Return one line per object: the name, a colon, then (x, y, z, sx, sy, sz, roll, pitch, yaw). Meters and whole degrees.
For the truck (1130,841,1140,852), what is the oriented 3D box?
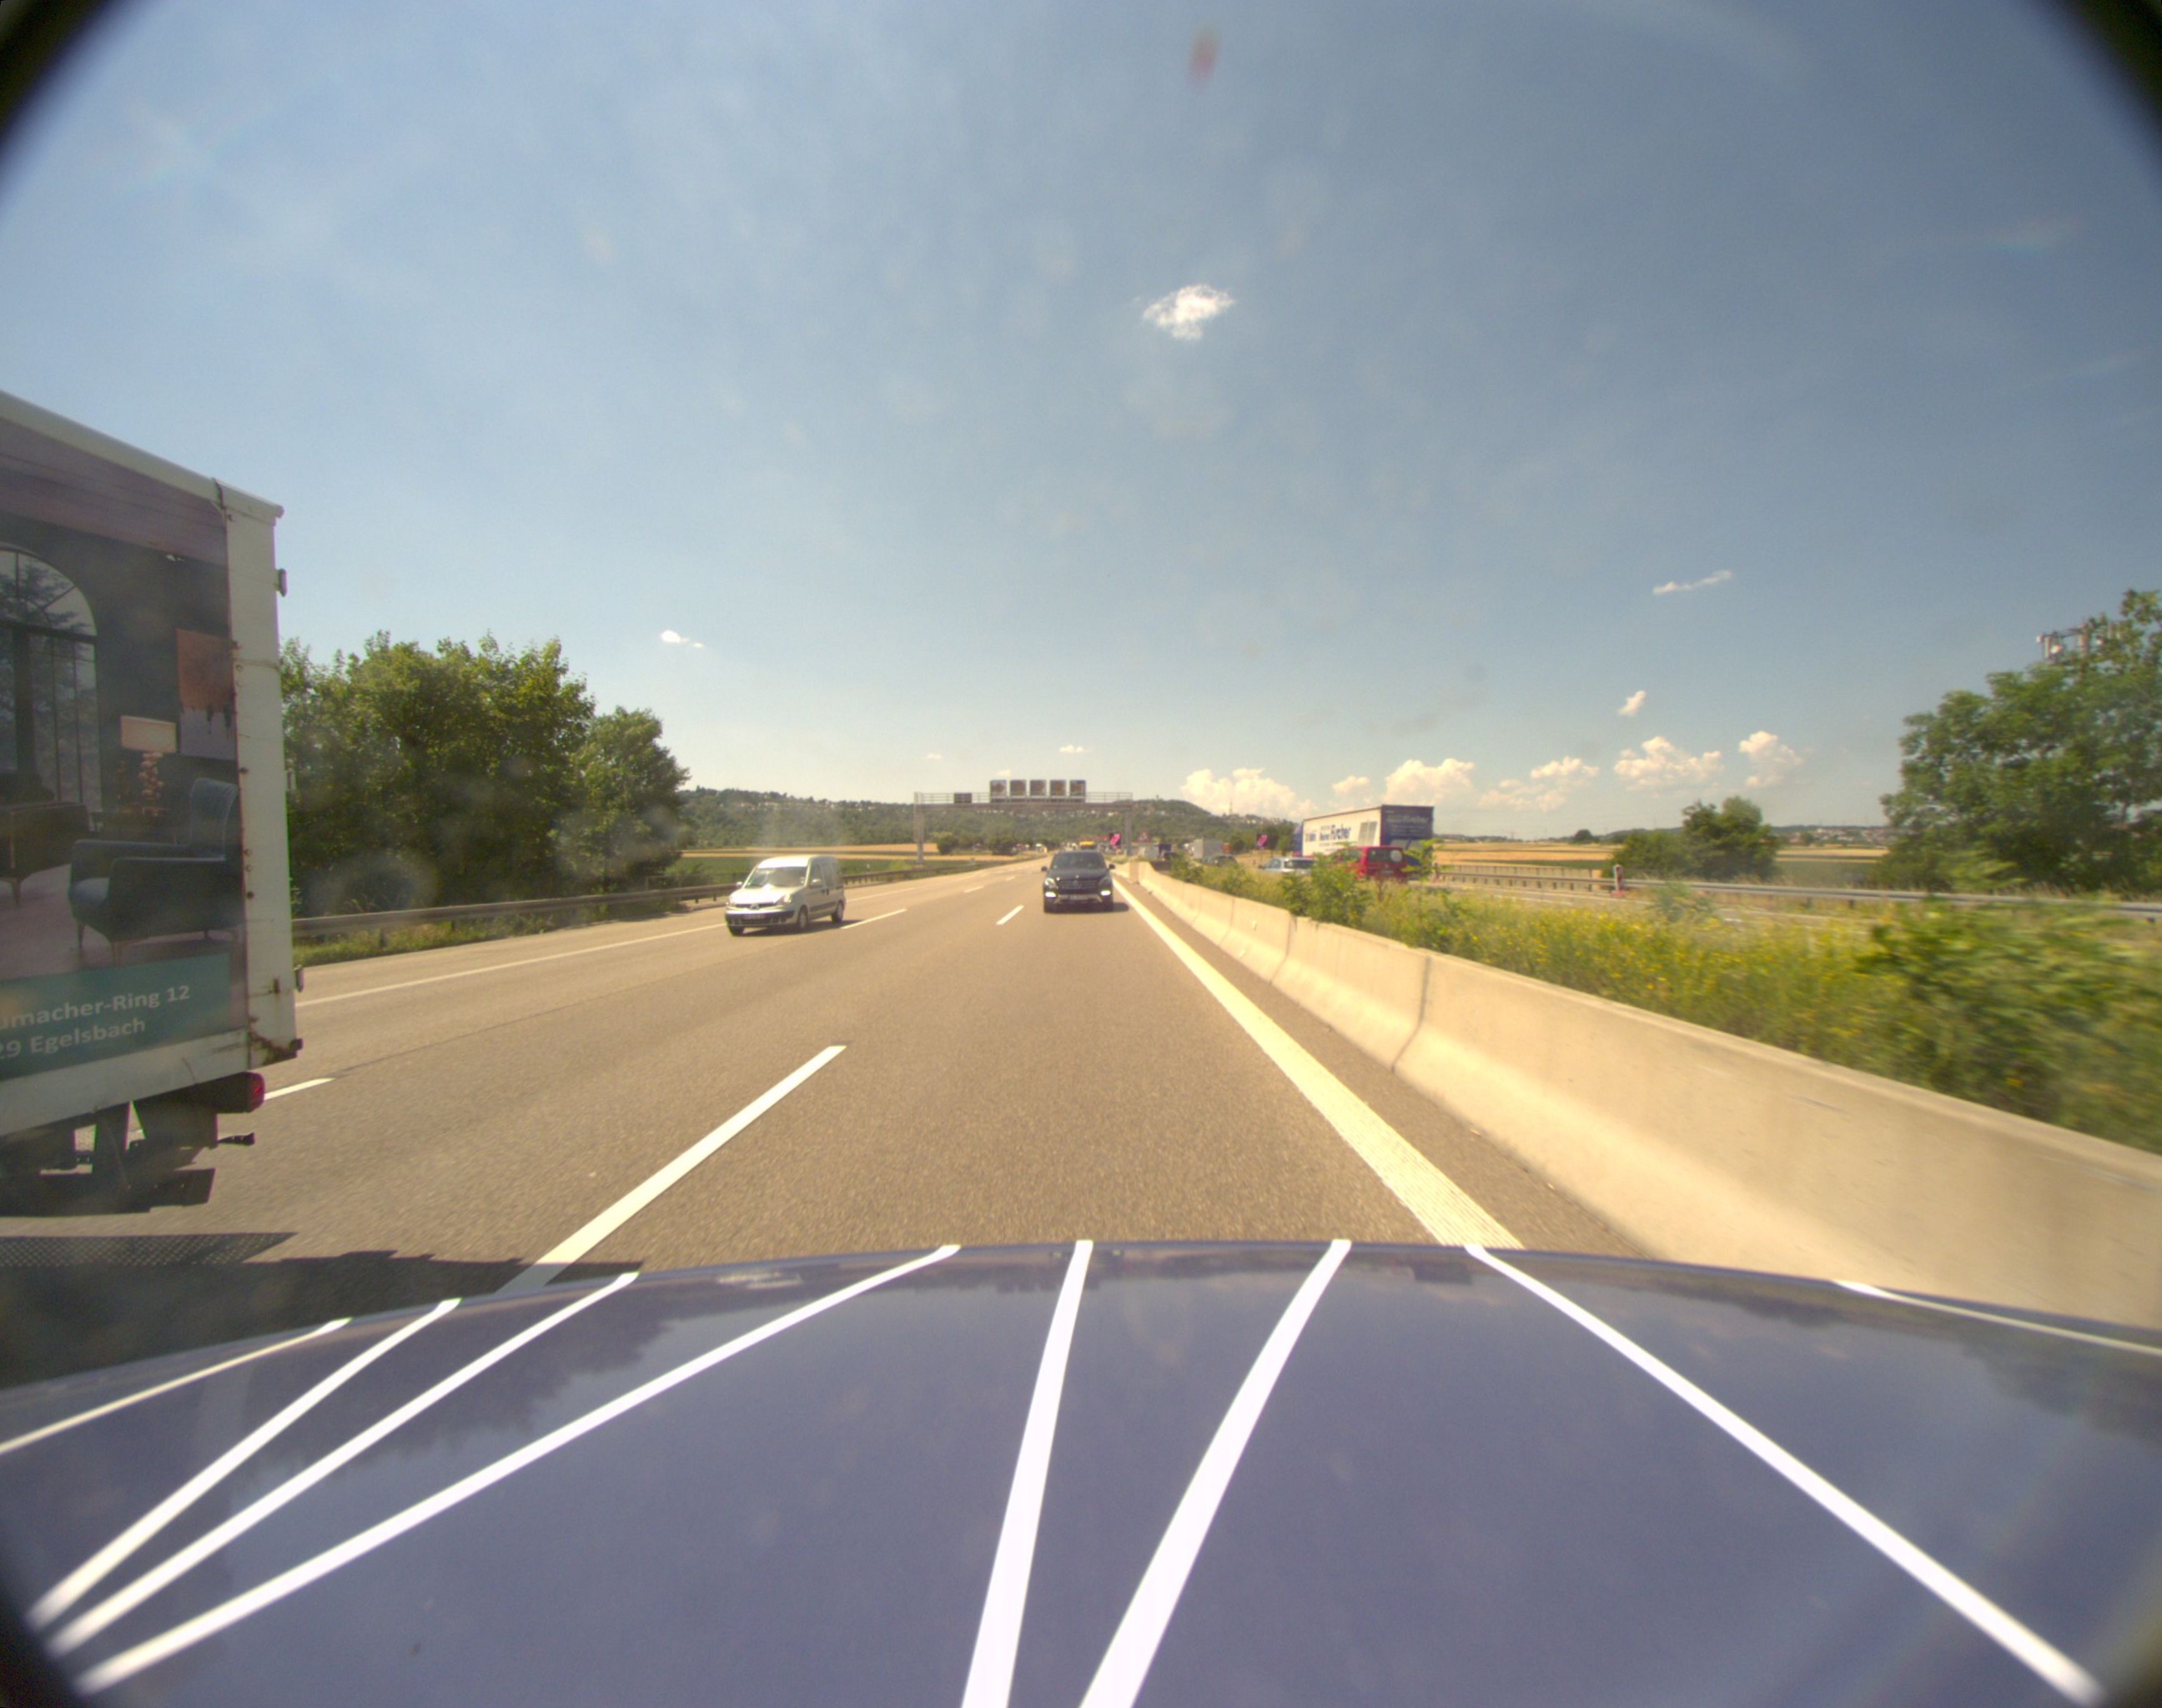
truck: (18.504, -2.619, 260.080, 2.801, 3.589, 13.288, 1, 1, 1)

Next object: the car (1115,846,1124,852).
car: (9.961, -1.272, 196.120, 1.899, 1.569, 4.935, -2, 1, 0)

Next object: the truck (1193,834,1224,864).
truck: (16.426, -0.620, 98.353, 2.706, 3.599, 8.787, 1, 0, 2)

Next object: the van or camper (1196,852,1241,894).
van or camper: (8.948, 1.179, 49.873, 2.153, 2.613, 4.397, 0, 1, 0)

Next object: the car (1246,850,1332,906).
car: (7.876, 0.843, 29.267, 1.998, 1.934, 4.794, 0, 1, 0)

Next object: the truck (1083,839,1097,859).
truck: (1.581, -0.924, 128.591, 2.272, 3.139, 8.185, -2, 1, 1)

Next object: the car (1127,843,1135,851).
car: (15.482, -2.061, 234.764, 2.052, 2.486, 5.811, 0, 0, 0)

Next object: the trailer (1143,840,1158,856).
trailer: (18.719, -1.594, 205.832, 2.817, 4.104, 14.128, 0, 0, 0)

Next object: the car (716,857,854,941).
car: (-6.921, 0.968, 18.231, 1.630, 1.727, 3.972, -2, 0, 1)

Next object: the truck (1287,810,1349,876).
truck: (15.979, -0.724, 51.578, 2.599, 4.214, 4.853, 2, 1, 0)

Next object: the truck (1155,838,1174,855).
truck: (17.580, -1.557, 161.128, 2.983, 3.587, 9.993, -1, 0, 0)

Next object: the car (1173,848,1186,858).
car: (16.826, -0.193, 130.003, 1.837, 1.709, 4.080, 1, 1, 0)

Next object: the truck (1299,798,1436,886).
truck: (15.906, -0.643, 43.887, 2.599, 4.214, 14.121, 2, 1, 1)

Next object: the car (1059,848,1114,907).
car: (0.210, 0.696, 24.407, 1.630, 1.711, 3.864, -1, 0, 1)

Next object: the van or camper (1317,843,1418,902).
van or camper: (11.722, 0.694, 31.547, 2.099, 2.261, 5.493, 0, 0, 0)
